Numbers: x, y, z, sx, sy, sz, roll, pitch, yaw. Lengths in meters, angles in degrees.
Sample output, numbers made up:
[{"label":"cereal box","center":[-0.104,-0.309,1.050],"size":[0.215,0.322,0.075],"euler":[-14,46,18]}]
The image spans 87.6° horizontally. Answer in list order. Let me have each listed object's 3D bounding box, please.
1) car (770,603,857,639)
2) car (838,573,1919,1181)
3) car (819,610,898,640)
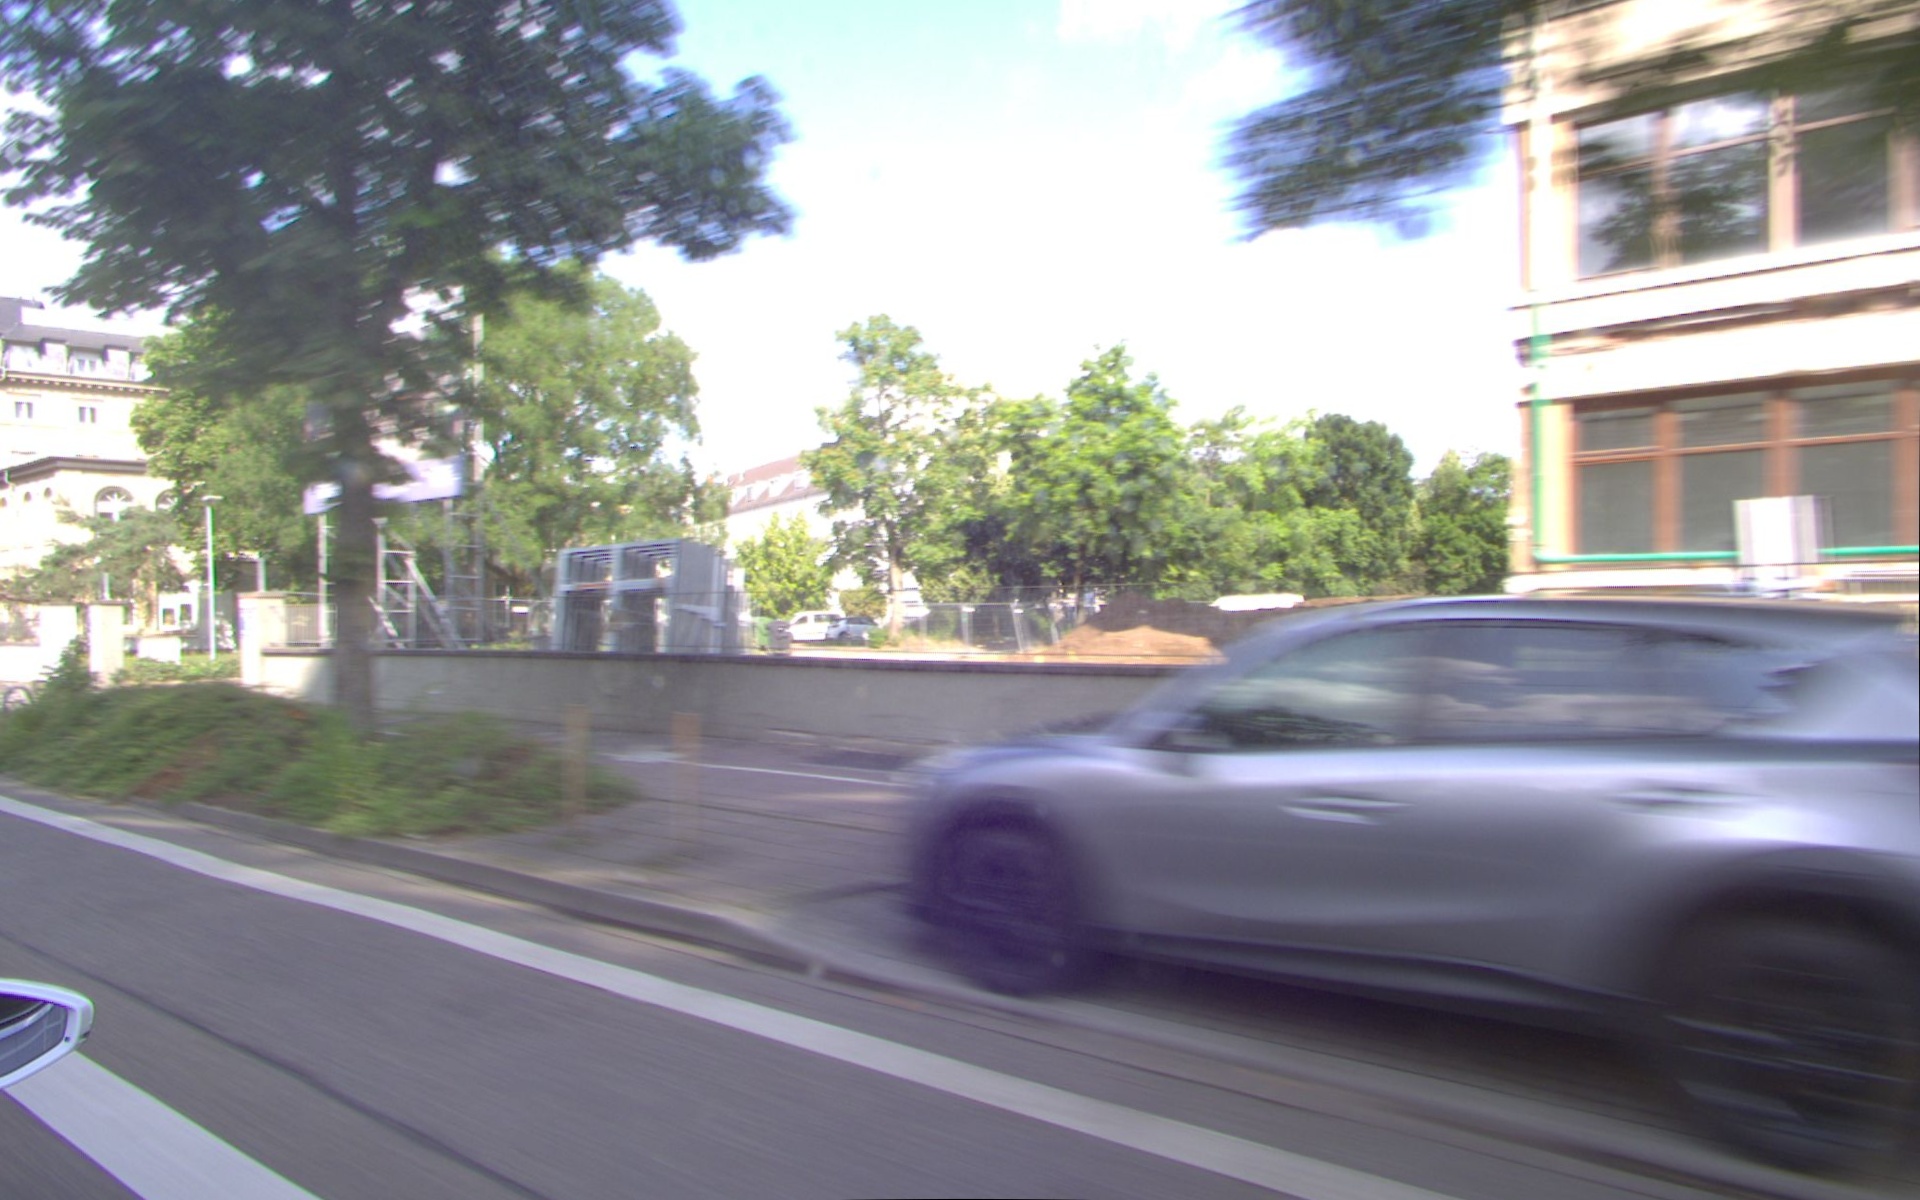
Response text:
[{"label":"car","center":[-8.959,1.269,61.437],"size":[4.881,1.989,1.992],"euler":[-1,-3,-29]},{"label":"car","center":[1.747,0.726,4.235],"size":[4.394,1.628,1.761],"euler":[1,1,32]},{"label":"car","center":[-5.457,1.328,54.000],"size":[3.860,1.438,1.750],"euler":[-2,-1,-31]}]
